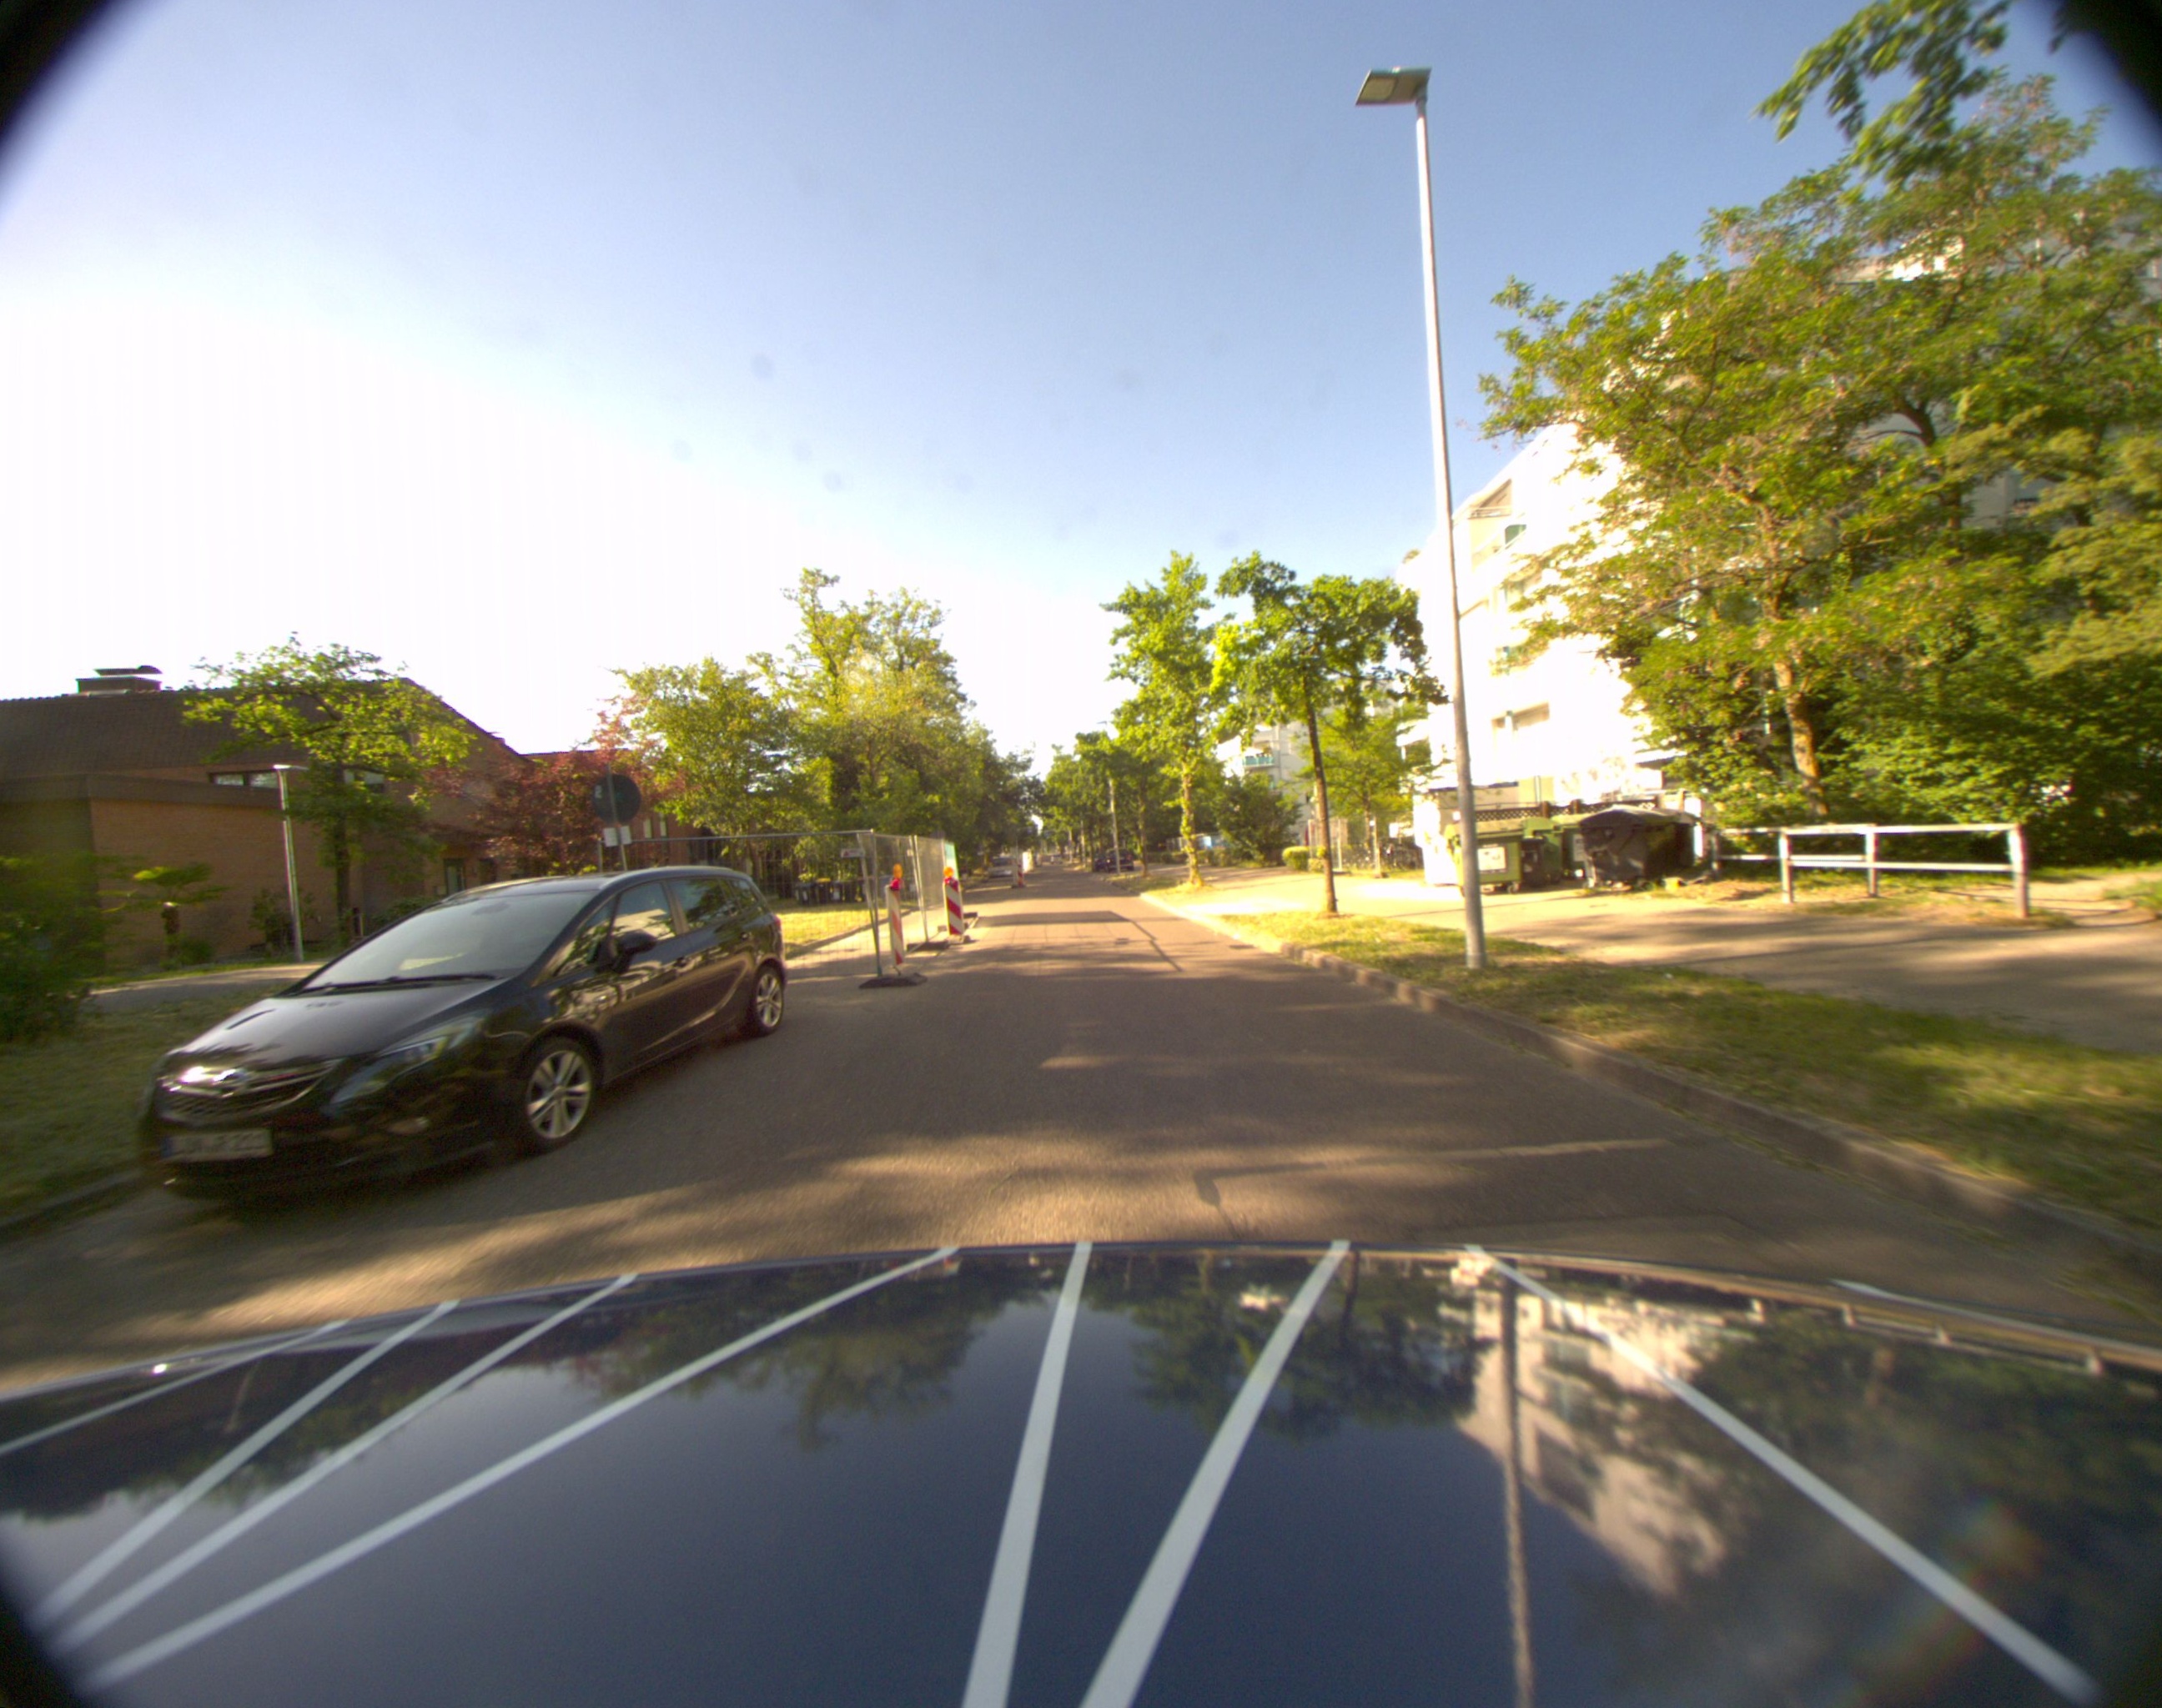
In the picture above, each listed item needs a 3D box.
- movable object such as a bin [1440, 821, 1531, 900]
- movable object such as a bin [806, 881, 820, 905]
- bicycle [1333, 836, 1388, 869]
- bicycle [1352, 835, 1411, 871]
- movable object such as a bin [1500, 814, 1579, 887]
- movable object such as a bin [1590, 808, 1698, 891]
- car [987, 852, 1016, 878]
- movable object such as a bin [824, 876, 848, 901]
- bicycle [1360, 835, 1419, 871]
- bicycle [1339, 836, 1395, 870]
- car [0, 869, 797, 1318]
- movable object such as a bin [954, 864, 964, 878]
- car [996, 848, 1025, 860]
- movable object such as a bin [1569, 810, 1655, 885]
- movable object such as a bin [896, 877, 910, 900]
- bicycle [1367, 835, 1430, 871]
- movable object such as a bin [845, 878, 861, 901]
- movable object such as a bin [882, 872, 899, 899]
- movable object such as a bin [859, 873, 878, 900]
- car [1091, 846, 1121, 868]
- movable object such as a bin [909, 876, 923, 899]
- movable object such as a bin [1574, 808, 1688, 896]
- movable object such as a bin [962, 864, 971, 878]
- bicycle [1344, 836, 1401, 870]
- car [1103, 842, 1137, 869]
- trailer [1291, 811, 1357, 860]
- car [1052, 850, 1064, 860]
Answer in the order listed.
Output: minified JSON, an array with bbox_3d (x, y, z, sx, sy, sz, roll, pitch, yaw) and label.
[{"bbox_3d":[7.929,0.123,14.979,1.271,1.427,1.182,-3,1,15],"label":"movable object such as a bin"},{"bbox_3d":[-10.462,1.517,29.634,0.426,0.877,0.524,-3,1,-13],"label":"movable object such as a bin"},{"bbox_3d":[9.894,-0.058,26.921,1.875,1.021,0.400,-4,2,-14],"label":"bicycle"},{"bbox_3d":[9.898,-0.042,25.034,1.865,1.021,0.400,-4,2,-14],"label":"bicycle"},{"bbox_3d":[9.717,-0.078,16.181,1.270,1.427,1.328,-3,1,26],"label":"movable object such as a bin"},{"bbox_3d":[10.481,-0.073,14.155,1.146,1.427,1.270,-4,1,-35],"label":"movable object such as a bin"},{"bbox_3d":[-5.568,0.730,53.833,1.683,1.612,4.136,-5,1,-3],"label":"car"},{"bbox_3d":[-9.640,1.358,29.872,0.696,0.923,0.695,-2,1,-1],"label":"movable object such as a bin"},{"bbox_3d":[9.985,-0.043,24.615,1.844,1.021,0.400,-4,2,-14],"label":"bicycle"},{"bbox_3d":[9.786,-0.055,25.976,1.862,1.021,0.400,-4,2,-14],"label":"bicycle"},{"bbox_3d":[-3.937,1.090,5.461,1.814,1.641,4.420,-6,1,2],"label":"car"},{"bbox_3d":[-7.824,1.079,48.735,0.485,0.856,0.559,-4,1,-4],"label":"movable object such as a bin"},{"bbox_3d":[-13.131,-0.047,141.726,5.270,1.993,1.999,-3,1,-4],"label":"car"},{"bbox_3d":[10.956,-0.144,15.735,1.159,1.427,1.266,-3,1,23],"label":"movable object such as a bin"},{"bbox_3d":[-7.003,1.350,29.883,0.414,0.865,0.484,-2,1,-1],"label":"movable object such as a bin"},{"bbox_3d":[10.096,-0.039,24.153,1.921,1.021,0.400,-4,2,-14],"label":"bicycle"},{"bbox_3d":[-8.960,1.386,29.863,0.419,0.865,0.525,-2,1,-1],"label":"movable object such as a bin"},{"bbox_3d":[-7.532,1.238,30.057,0.520,0.994,0.608,-2,1,-1],"label":"movable object such as a bin"},{"bbox_3d":[-8.383,1.272,29.982,0.564,0.994,0.608,-2,1,-1],"label":"movable object such as a bin"},{"bbox_3d":[1.895,0.210,58.648,1.721,1.424,4.135,-6,1,-5],"label":"car"},{"bbox_3d":[-6.514,1.334,29.993,0.414,0.865,0.484,-2,1,-1],"label":"movable object such as a bin"},{"bbox_3d":[9.665,-0.030,13.376,1.146,1.427,1.270,-4,1,-35],"label":"movable object such as a bin"},{"bbox_3d":[-7.334,1.062,48.778,0.485,0.856,0.559,-4,1,-4],"label":"movable object such as a bin"},{"bbox_3d":[9.774,-0.044,25.502,1.844,1.021,0.400,-4,2,-14],"label":"bicycle"},{"bbox_3d":[2.628,0.114,52.176,1.780,1.612,4.219,-6,1,-2],"label":"car"},{"bbox_3d":[12.105,-0.909,38.161,1.868,2.108,4.346,-6,1,2],"label":"trailer"},{"bbox_3d":[-3.747,0.174,121.945,1.664,1.587,4.006,-2,1,-5],"label":"car"}]
